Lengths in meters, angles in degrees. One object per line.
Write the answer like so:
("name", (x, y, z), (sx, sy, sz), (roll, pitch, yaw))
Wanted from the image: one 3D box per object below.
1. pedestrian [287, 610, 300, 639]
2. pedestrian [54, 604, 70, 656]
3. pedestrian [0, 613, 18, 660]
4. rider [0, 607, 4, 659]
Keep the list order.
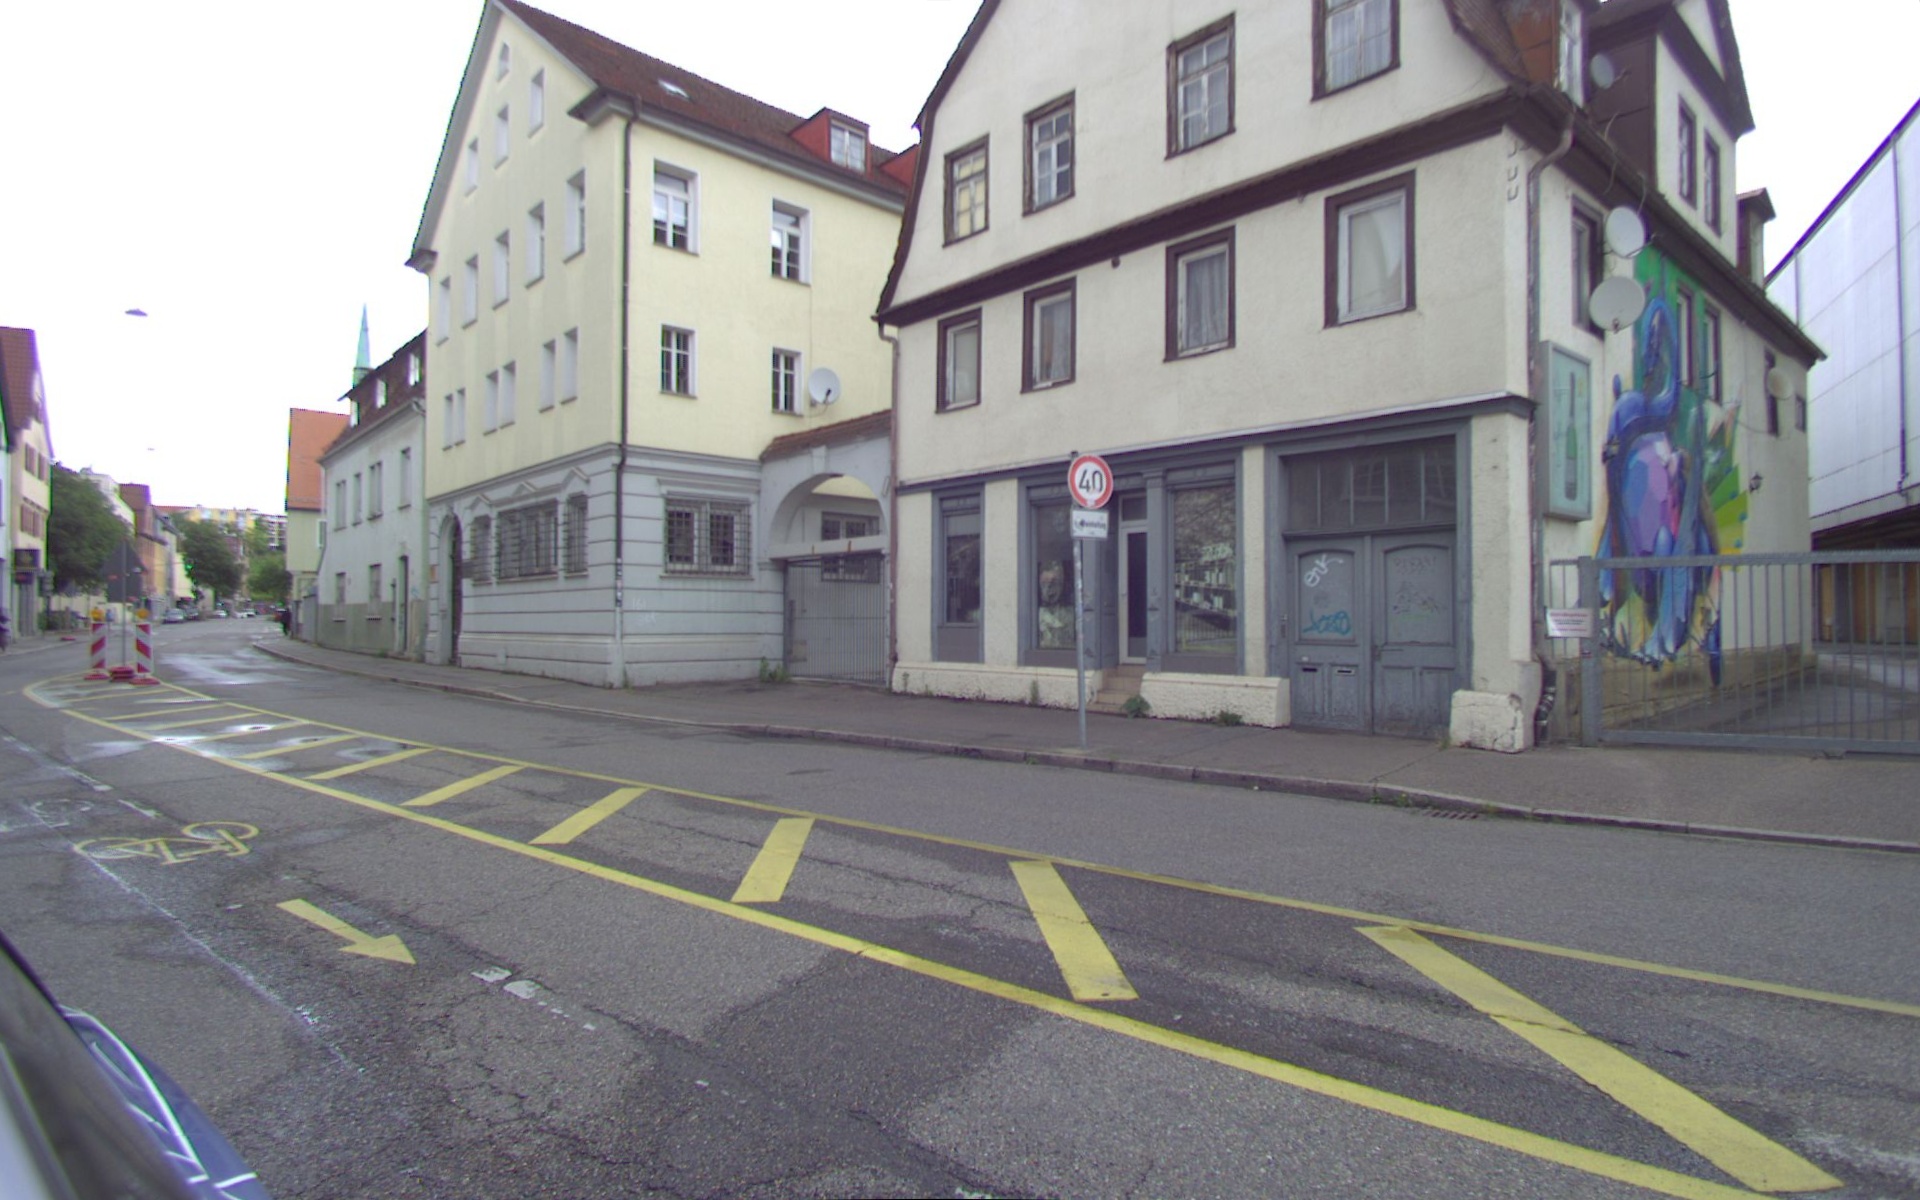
("pedestrian", (-41.234, 1.534, 62.609), (0.584, 1.793, 0.506), (1, -2, -38))
("pedestrian", (-43.988, 1.463, 49.582), (0.487, 2.547, 0.747), (1, -2, -38))
("pedestrian", (-33.376, 1.261, 35.270), (0.714, 1.626, 0.650), (1, -2, -37))
("rider", (-34.975, 1.181, 36.469), (0.798, 1.862, 0.710), (-2, -2, 43))
